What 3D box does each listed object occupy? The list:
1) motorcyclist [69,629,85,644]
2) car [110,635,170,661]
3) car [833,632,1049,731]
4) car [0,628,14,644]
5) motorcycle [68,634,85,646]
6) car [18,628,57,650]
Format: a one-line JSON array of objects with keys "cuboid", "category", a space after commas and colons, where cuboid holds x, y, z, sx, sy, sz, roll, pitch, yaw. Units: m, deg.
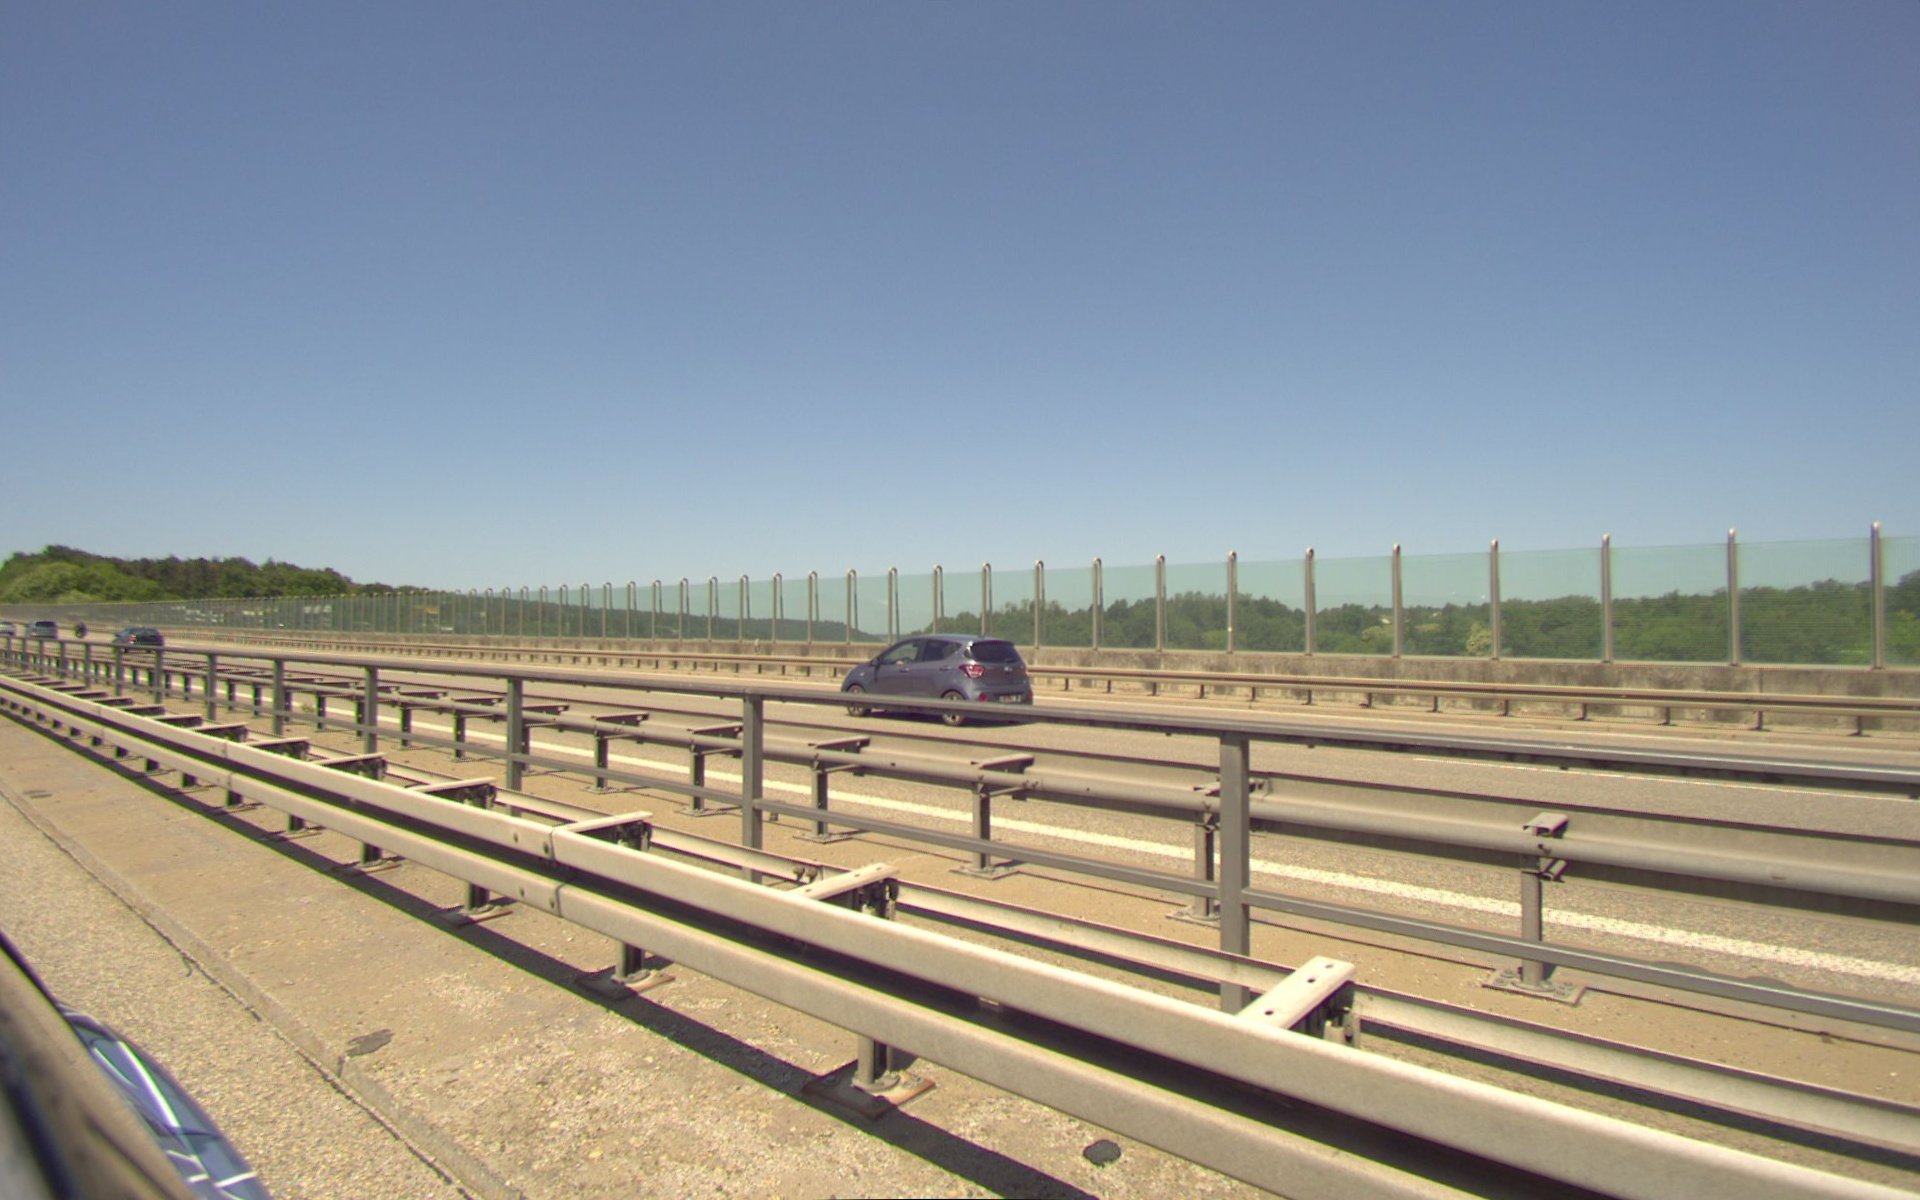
[{"cuboid": [-80.355, 3.307, 92.143, 1.286, 1.293, 0.910, -1, 0, 41], "category": "motorcyclist"}, {"cuboid": [-44.051, 2.568, 54.361, 4.268, 1.330, 1.742, -1, -3, 41], "category": "car"}, {"cuboid": [-0.384, 1.323, 17.437, 3.540, 1.473, 1.635, -1, -2, 41], "category": "car"}, {"cuboid": [-96.397, 3.639, 101.556, 4.122, 1.501, 1.713, -1, 0, 41], "category": "car"}, {"cuboid": [-80.591, 3.622, 92.330, 2.648, 1.079, 0.782, -1, -2, 41], "category": "motorcycle"}, {"cuboid": [-73.213, 3.083, 80.290, 4.152, 1.715, 1.763, -1, -2, 41], "category": "car"}]
